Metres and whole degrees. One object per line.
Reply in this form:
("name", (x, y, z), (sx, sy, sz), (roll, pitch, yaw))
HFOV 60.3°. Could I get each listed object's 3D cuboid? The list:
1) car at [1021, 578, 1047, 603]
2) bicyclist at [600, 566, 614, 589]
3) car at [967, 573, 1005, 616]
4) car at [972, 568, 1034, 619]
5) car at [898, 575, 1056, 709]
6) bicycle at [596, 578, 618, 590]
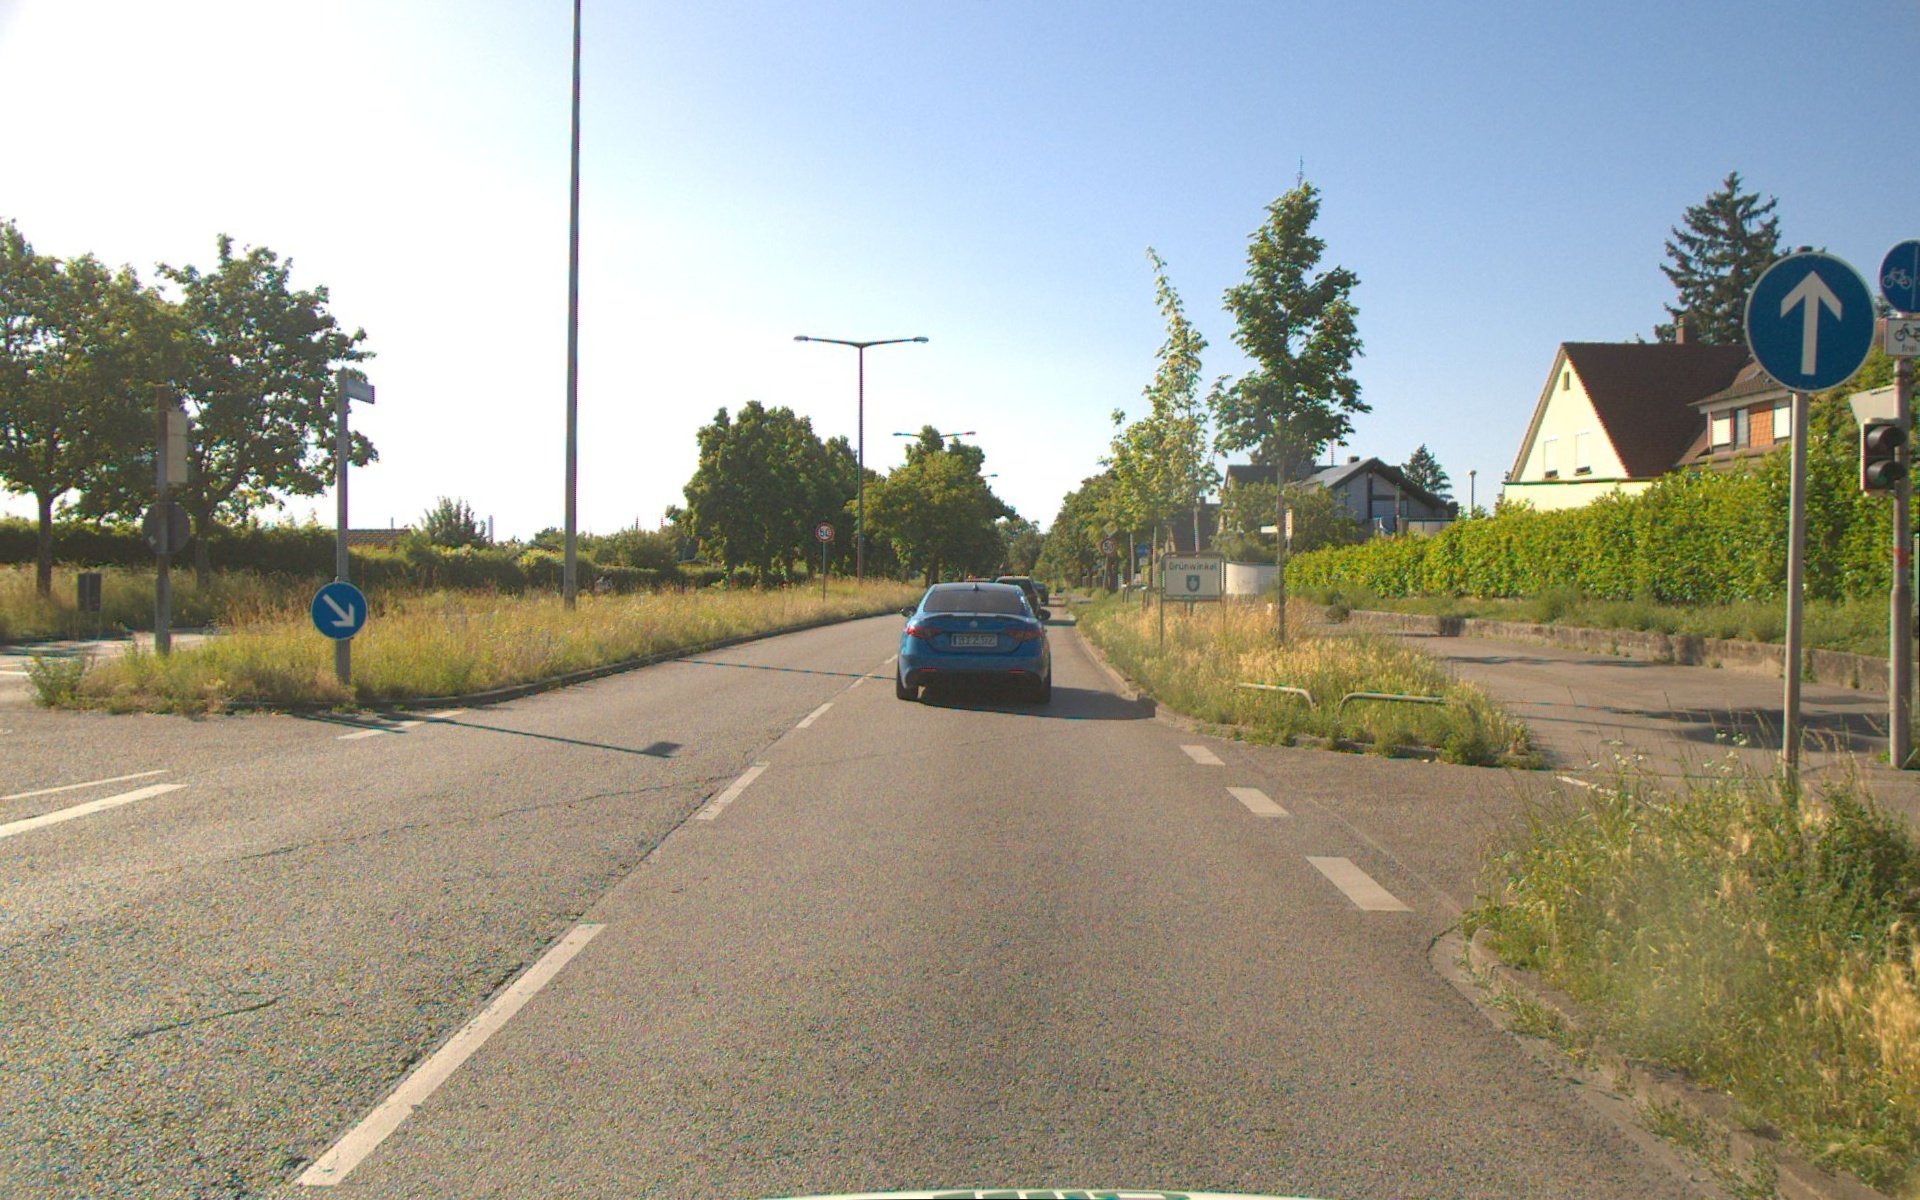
("car", (4.847, -0.628, 108.498), (1.626, 1.607, 3.811), (1, 1, 3))
("bicyclist", (-20.126, -1.267, 94.235), (0.570, 1.278, 0.576), (1, 1, 10))
("car", (1.327, -0.278, 82.262), (1.755, 2.049, 4.002), (1, 1, 3))
("car", (1.377, -0.237, 54.958), (1.876, 1.607, 4.182), (1, 1, -1))
("car", (0.182, 0.451, 21.099), (1.801, 1.500, 4.184), (1, 1, 0))
("bicycle", (-20.117, -0.914, 94.342), (0.553, 0.707, 1.877), (1, 1, 10))
